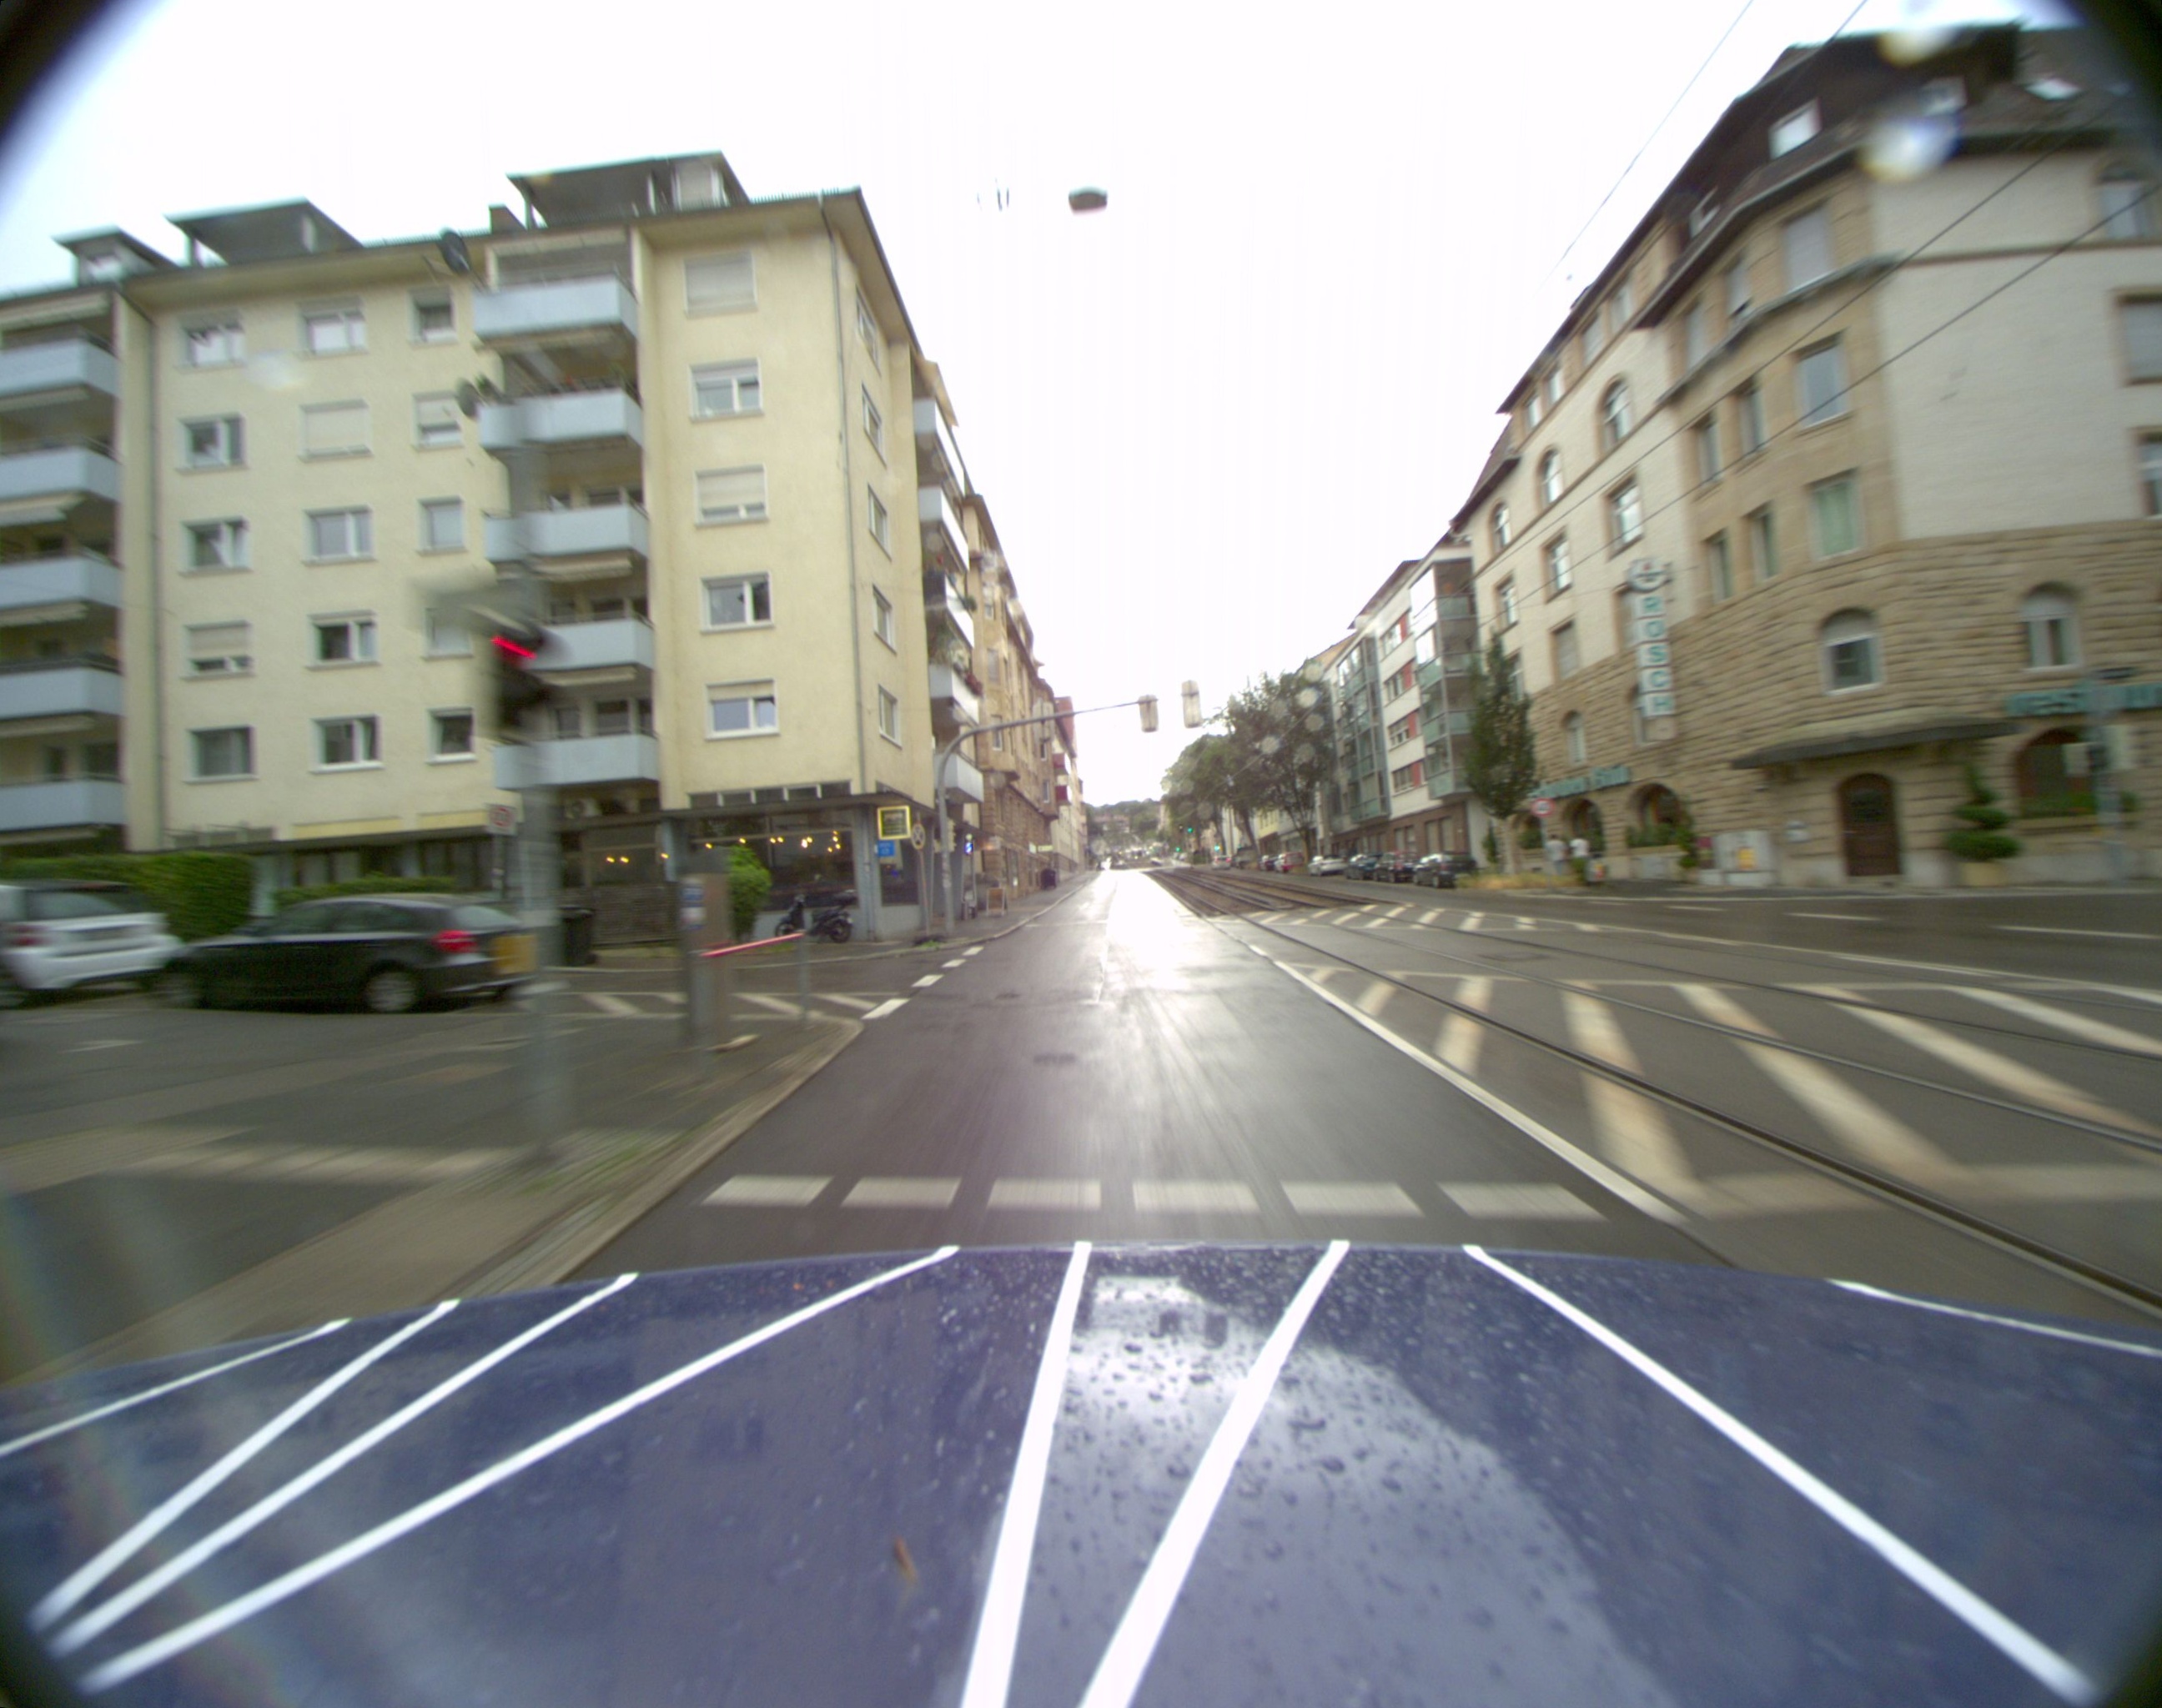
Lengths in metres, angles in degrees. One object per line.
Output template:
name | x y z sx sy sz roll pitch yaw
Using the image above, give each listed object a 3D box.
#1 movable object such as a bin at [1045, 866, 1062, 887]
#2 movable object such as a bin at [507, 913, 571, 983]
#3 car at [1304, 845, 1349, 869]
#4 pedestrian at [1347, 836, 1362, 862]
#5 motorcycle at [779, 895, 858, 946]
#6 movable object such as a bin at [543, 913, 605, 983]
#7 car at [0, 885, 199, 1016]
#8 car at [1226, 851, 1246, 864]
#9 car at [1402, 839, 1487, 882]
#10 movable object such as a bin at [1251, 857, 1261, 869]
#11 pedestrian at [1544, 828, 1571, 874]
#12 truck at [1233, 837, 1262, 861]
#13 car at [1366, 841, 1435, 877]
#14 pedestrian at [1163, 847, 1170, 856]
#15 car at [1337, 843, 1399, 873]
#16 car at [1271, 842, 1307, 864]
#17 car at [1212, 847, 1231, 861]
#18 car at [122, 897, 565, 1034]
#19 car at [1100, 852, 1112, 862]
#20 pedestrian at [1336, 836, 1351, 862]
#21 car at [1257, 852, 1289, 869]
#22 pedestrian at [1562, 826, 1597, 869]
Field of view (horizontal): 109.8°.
movable object such as a bin | -1.976 1.577 54.196 1.011 1.443 1.394 -1 0 4
movable object such as a bin | -10.056 1.732 14.114 0.594 1.167 0.736 -3 1 -1
car | 16.111 0.205 50.068 1.706 1.328 4.131 -6 0 4
pedestrian | 18.922 -0.368 52.560 0.675 1.762 0.782 -4 0 4
motorcycle | -6.222 1.573 18.036 1.647 1.155 0.600 -1 1 4
movable object such as a bin | -9.413 1.727 14.132 0.601 1.173 0.733 -3 1 -1
car | -14.449 1.246 10.094 3.995 1.493 1.468 -1 1 5
car | 18.937 0.434 92.874 1.708 1.451 4.361 -5 0 4
car | 15.008 0.270 31.605 1.769 1.543 3.896 -4 0 3
movable object such as a bin | 16.572 0.867 72.127 0.726 1.115 0.671 -3 0 -2
pedestrian | 16.728 -0.111 26.687 0.518 1.561 0.643 -3 1 5
truck | 18.108 -0.599 82.757 2.197 2.332 6.353 -3 1 5
car | 15.237 0.240 36.413 1.811 1.489 3.526 -4 0 2
pedestrian | 16.572 -0.518 146.945 1.119 1.772 0.965 -3 0 3
car | 15.521 0.221 41.290 1.805 1.446 4.432 -4 0 3
car | 16.755 -0.075 61.381 1.780 1.560 4.159 -3 0 3
car | 15.247 -0.002 82.652 1.630 1.473 3.582 -3 0 4
car | -9.081 1.340 9.579 3.996 1.406 1.762 -2 -1 4
car | 4.527 0.455 134.640 1.998 1.652 4.001 -3 0 3
pedestrian | 18.158 -0.327 52.600 0.675 1.762 0.782 -4 0 4
car | 17.307 0.572 68.625 1.911 1.431 4.470 -3 0 3
pedestrian | 17.469 -0.221 26.636 0.756 1.413 0.645 -4 0 4
